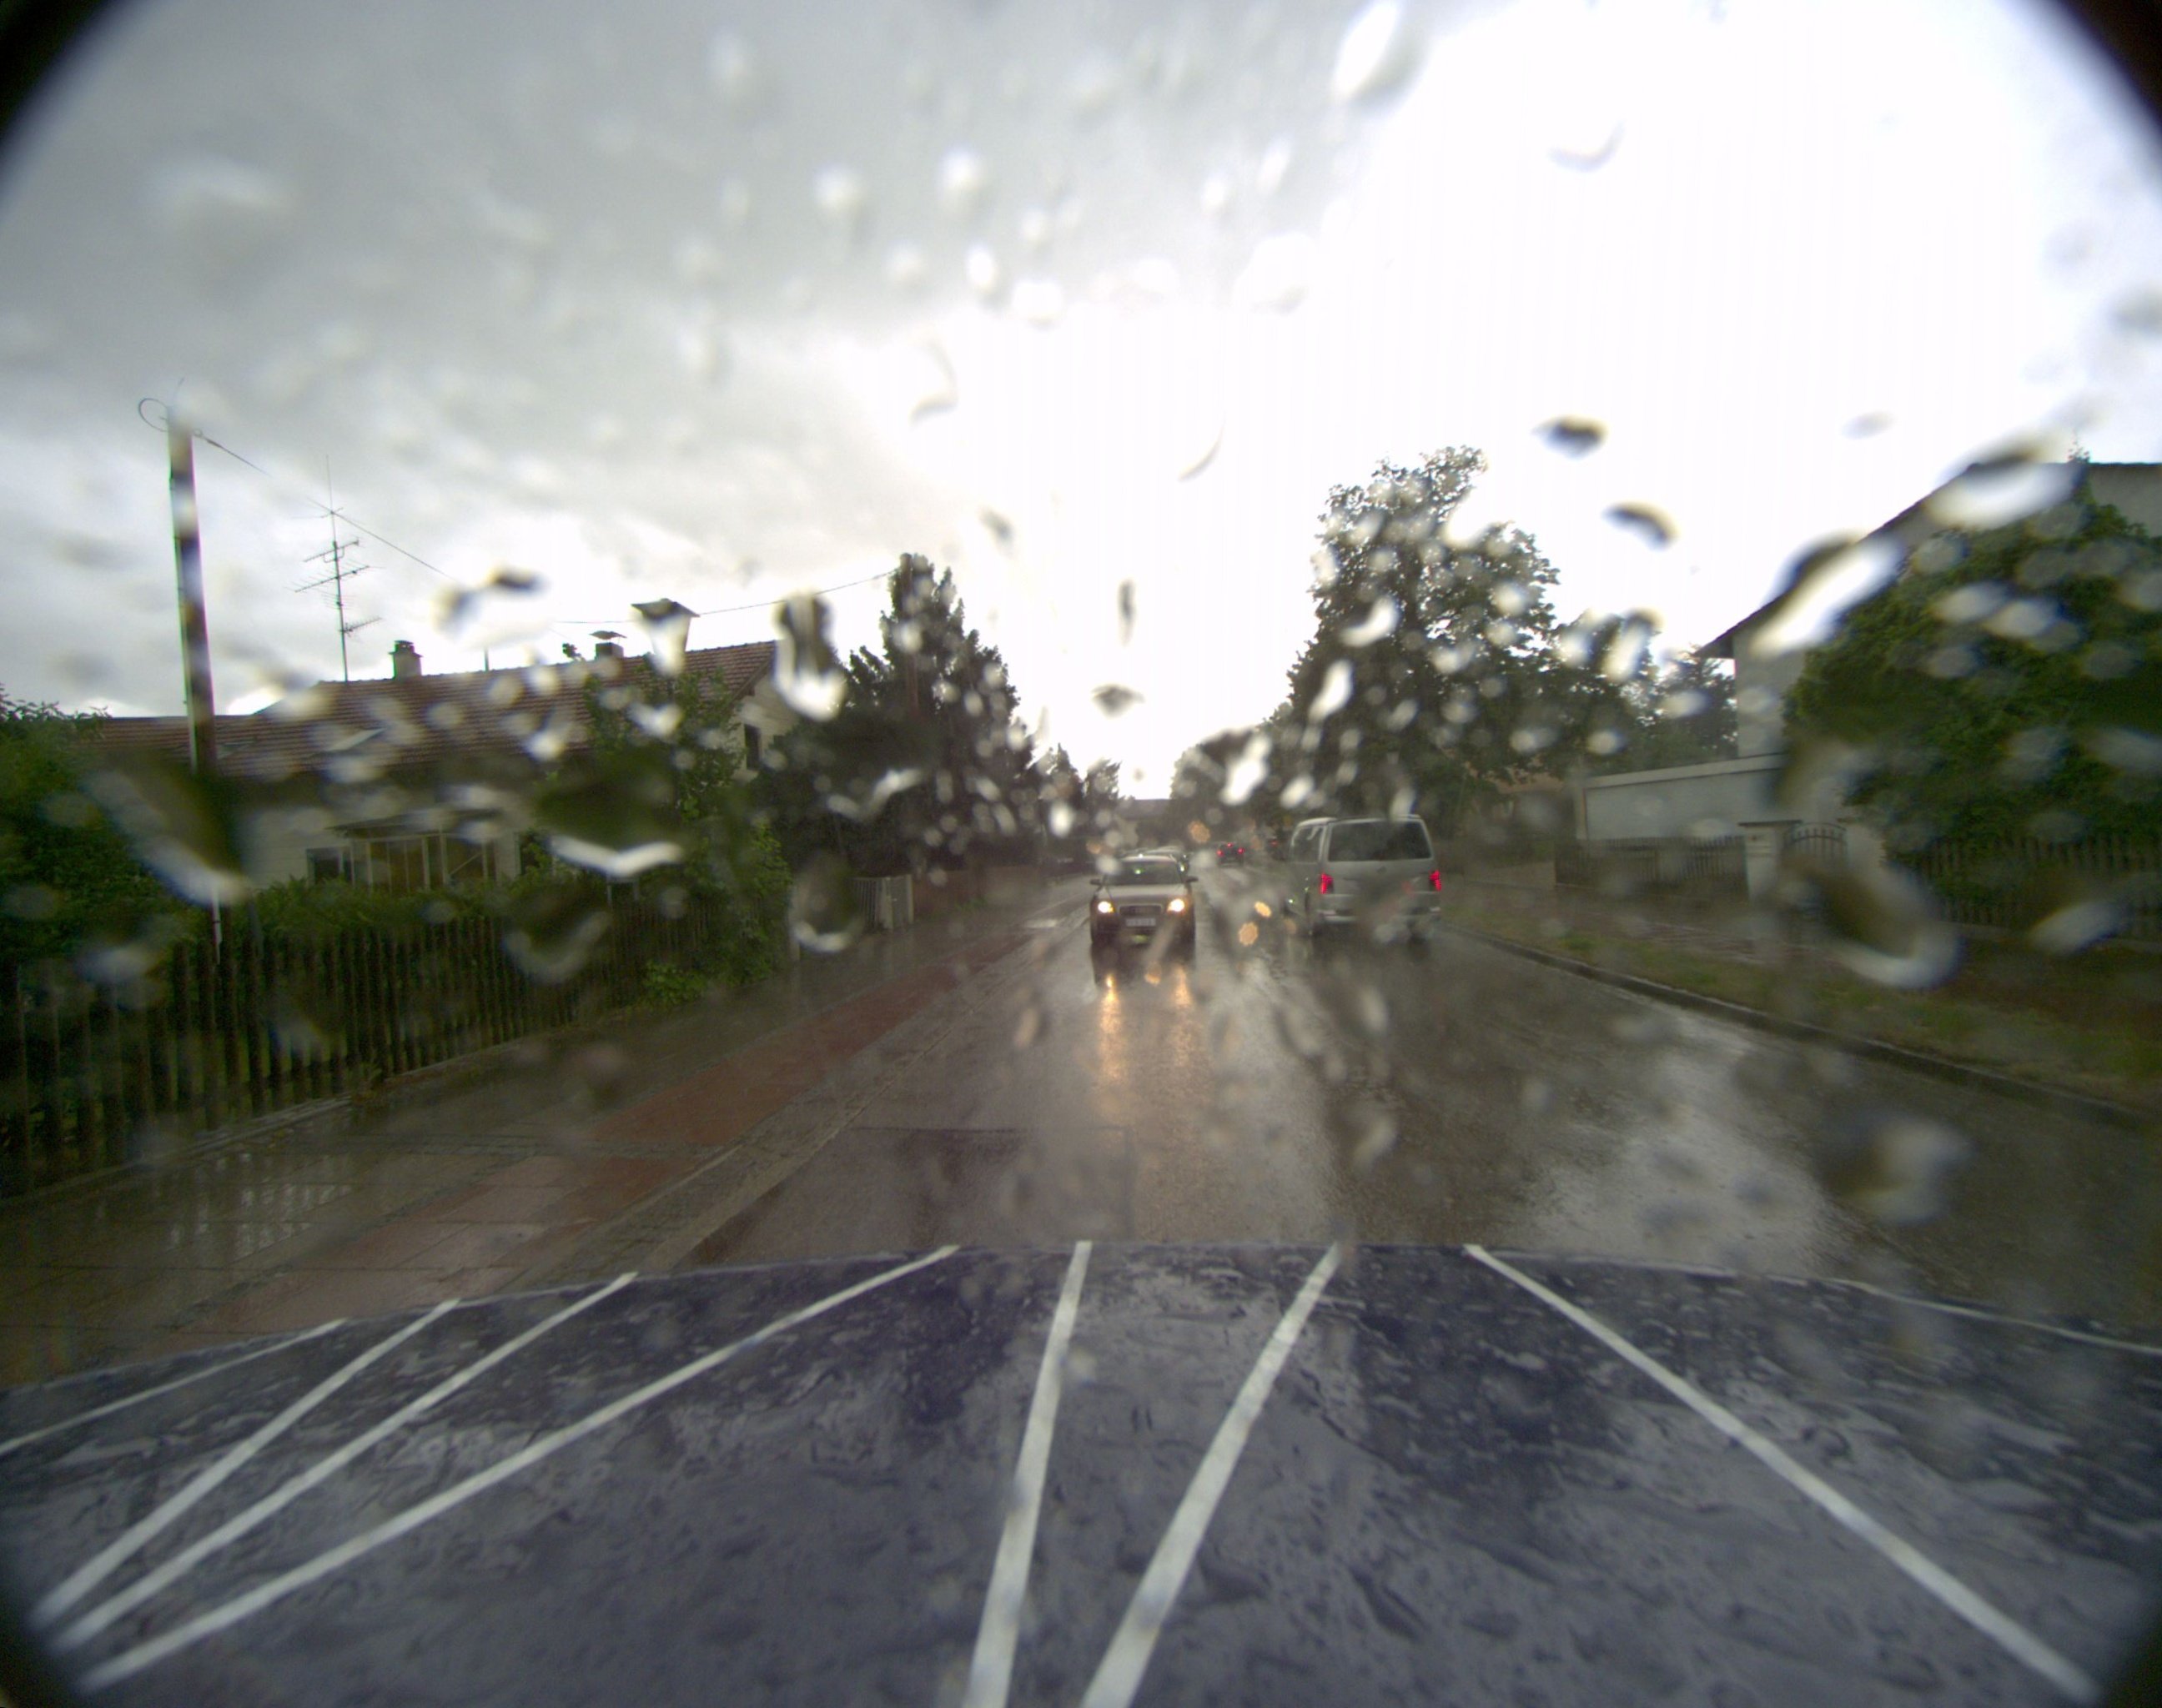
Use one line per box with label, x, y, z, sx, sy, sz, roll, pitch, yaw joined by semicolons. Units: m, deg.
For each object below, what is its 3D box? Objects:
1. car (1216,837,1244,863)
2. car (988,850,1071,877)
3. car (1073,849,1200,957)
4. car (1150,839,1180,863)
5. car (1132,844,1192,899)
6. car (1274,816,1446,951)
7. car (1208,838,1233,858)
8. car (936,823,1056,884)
car;10.025;-0.282;51.250;1.590;1.601;3.540;-2;1;7
car;-2.795;0.495;41.841;4.440;1.413;1.830;0;1;0
car;1.120;0.744;13.659;1.871;1.512;4.190;-3;1;8
car;6.004;-0.244;53.810;1.871;1.512;4.963;-5;1;8
car;3.054;0.562;28.039;1.871;1.603;4.962;-5;1;8
car;4.663;0.403;13.455;1.854;1.960;4.704;-1;1;7
car;12.567;-0.556;68.580;1.757;1.668;4.001;-1;1;5
car;-3.857;-0.023;35.221;5.317;2.712;1.999;0;1;-2
